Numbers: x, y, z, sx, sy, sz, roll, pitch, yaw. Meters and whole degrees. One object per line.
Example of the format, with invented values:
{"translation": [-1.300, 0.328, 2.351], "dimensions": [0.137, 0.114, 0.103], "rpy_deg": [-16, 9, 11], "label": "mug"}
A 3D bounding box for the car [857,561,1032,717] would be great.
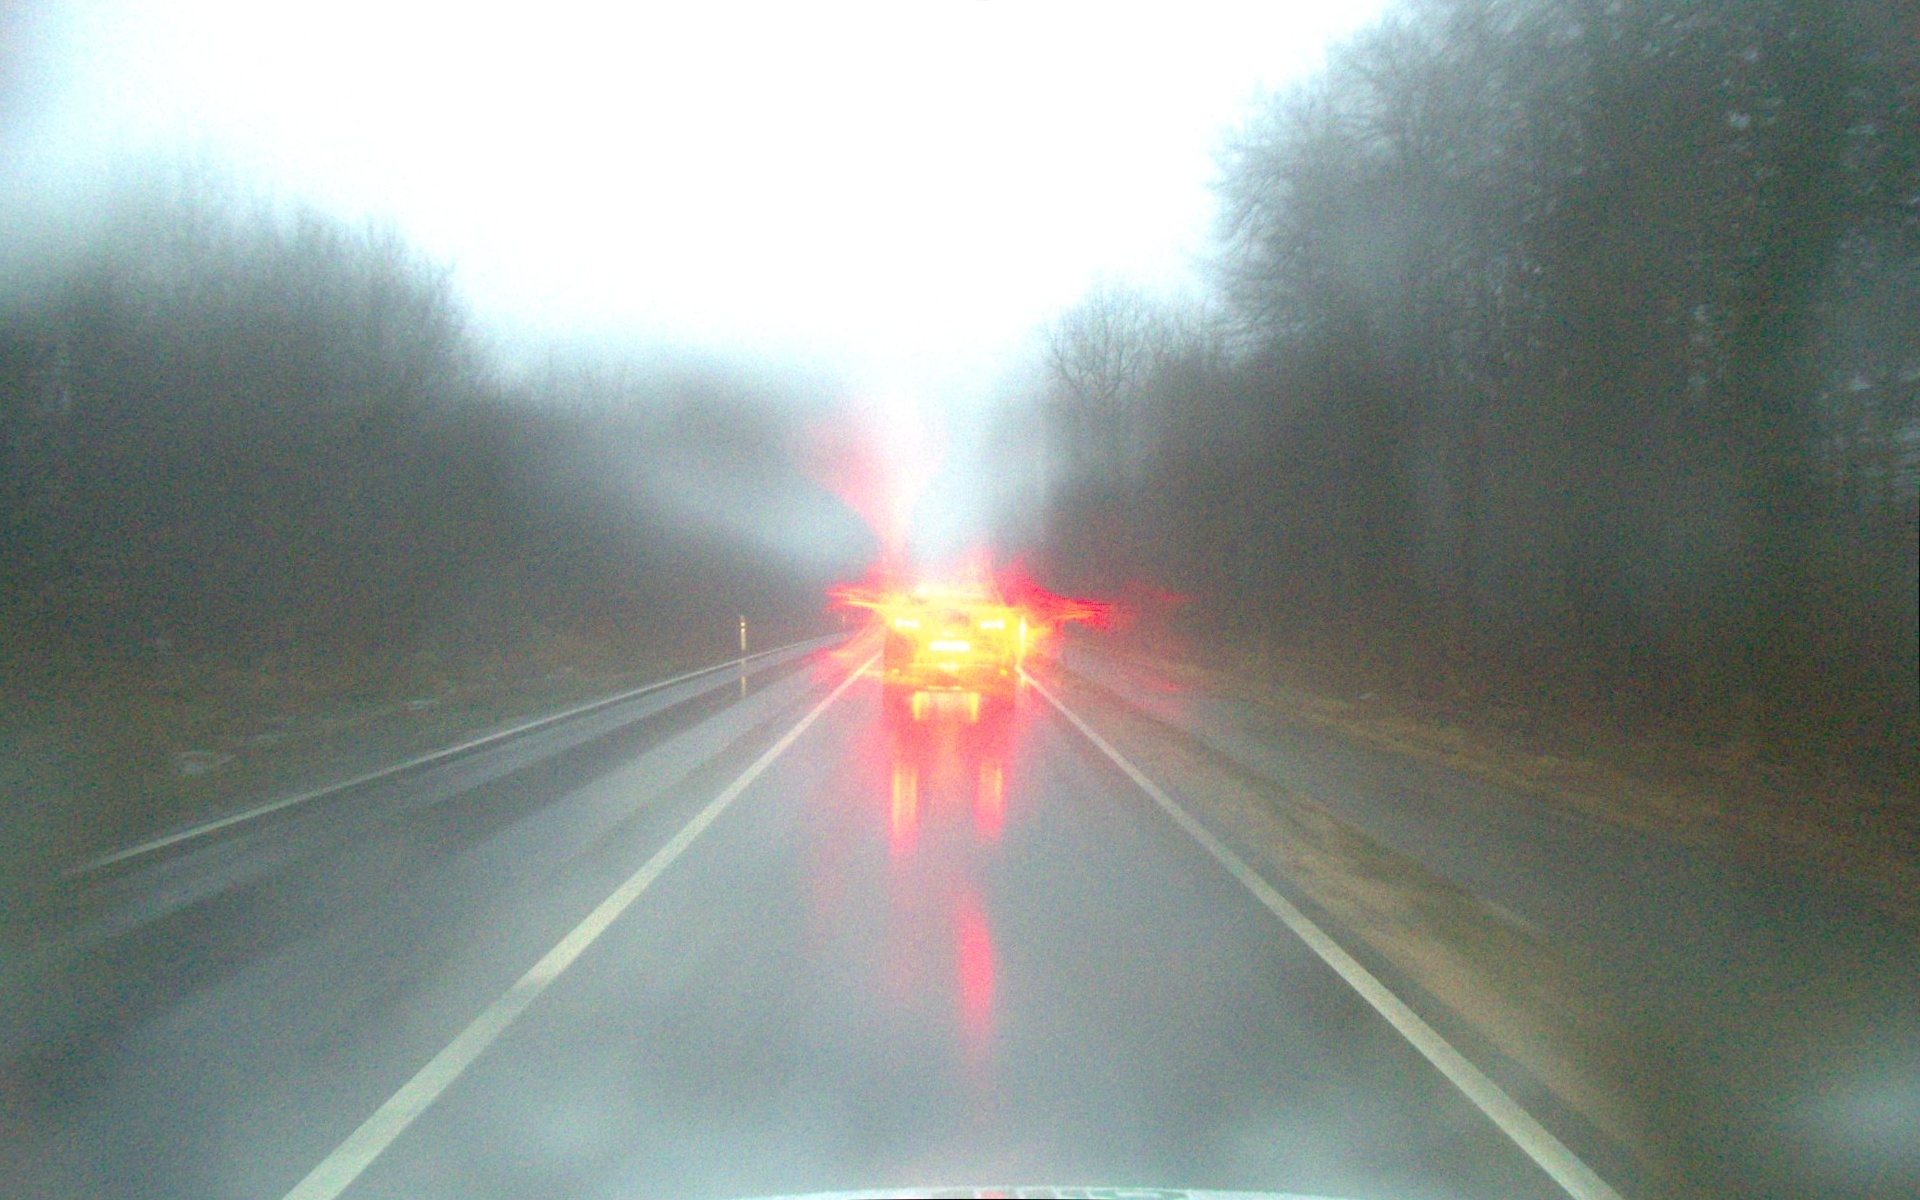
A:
{"translation": [-0.238, 0.480, 23.106], "dimensions": [2.153, 1.910, 4.826], "rpy_deg": [1, 0, -1], "label": "car"}
